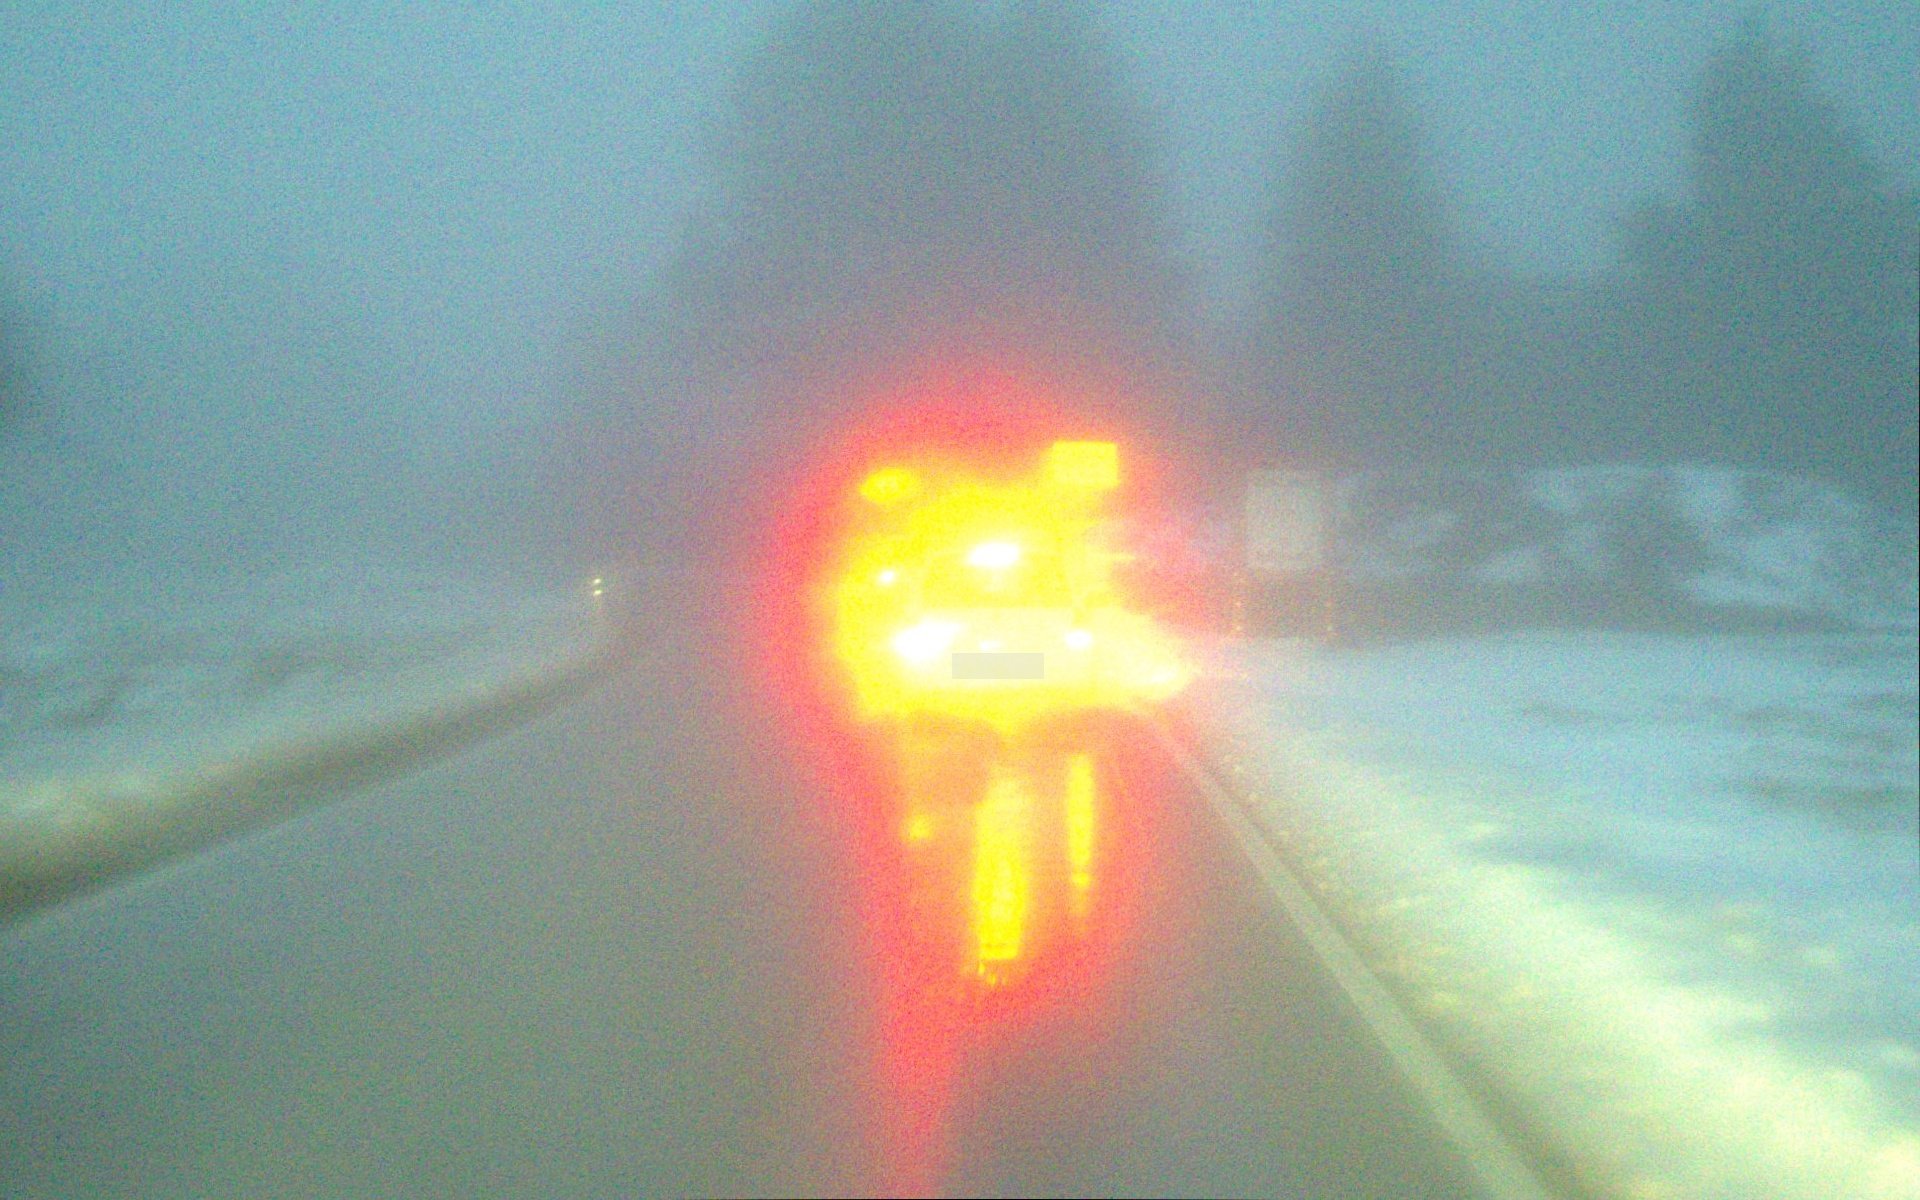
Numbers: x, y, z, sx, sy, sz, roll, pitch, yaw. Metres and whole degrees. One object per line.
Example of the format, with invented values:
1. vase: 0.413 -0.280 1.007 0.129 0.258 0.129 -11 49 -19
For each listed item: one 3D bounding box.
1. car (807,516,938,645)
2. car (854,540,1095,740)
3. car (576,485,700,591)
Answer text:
1. car: -1.052 -0.258 42.345 1.479 1.503 3.053 -1 1 1
2. car: 0.052 0.321 28.381 1.706 1.458 4.000 3 -1 -3
3. car: -4.806 -0.917 51.669 1.522 1.503 3.053 -1 0 1
